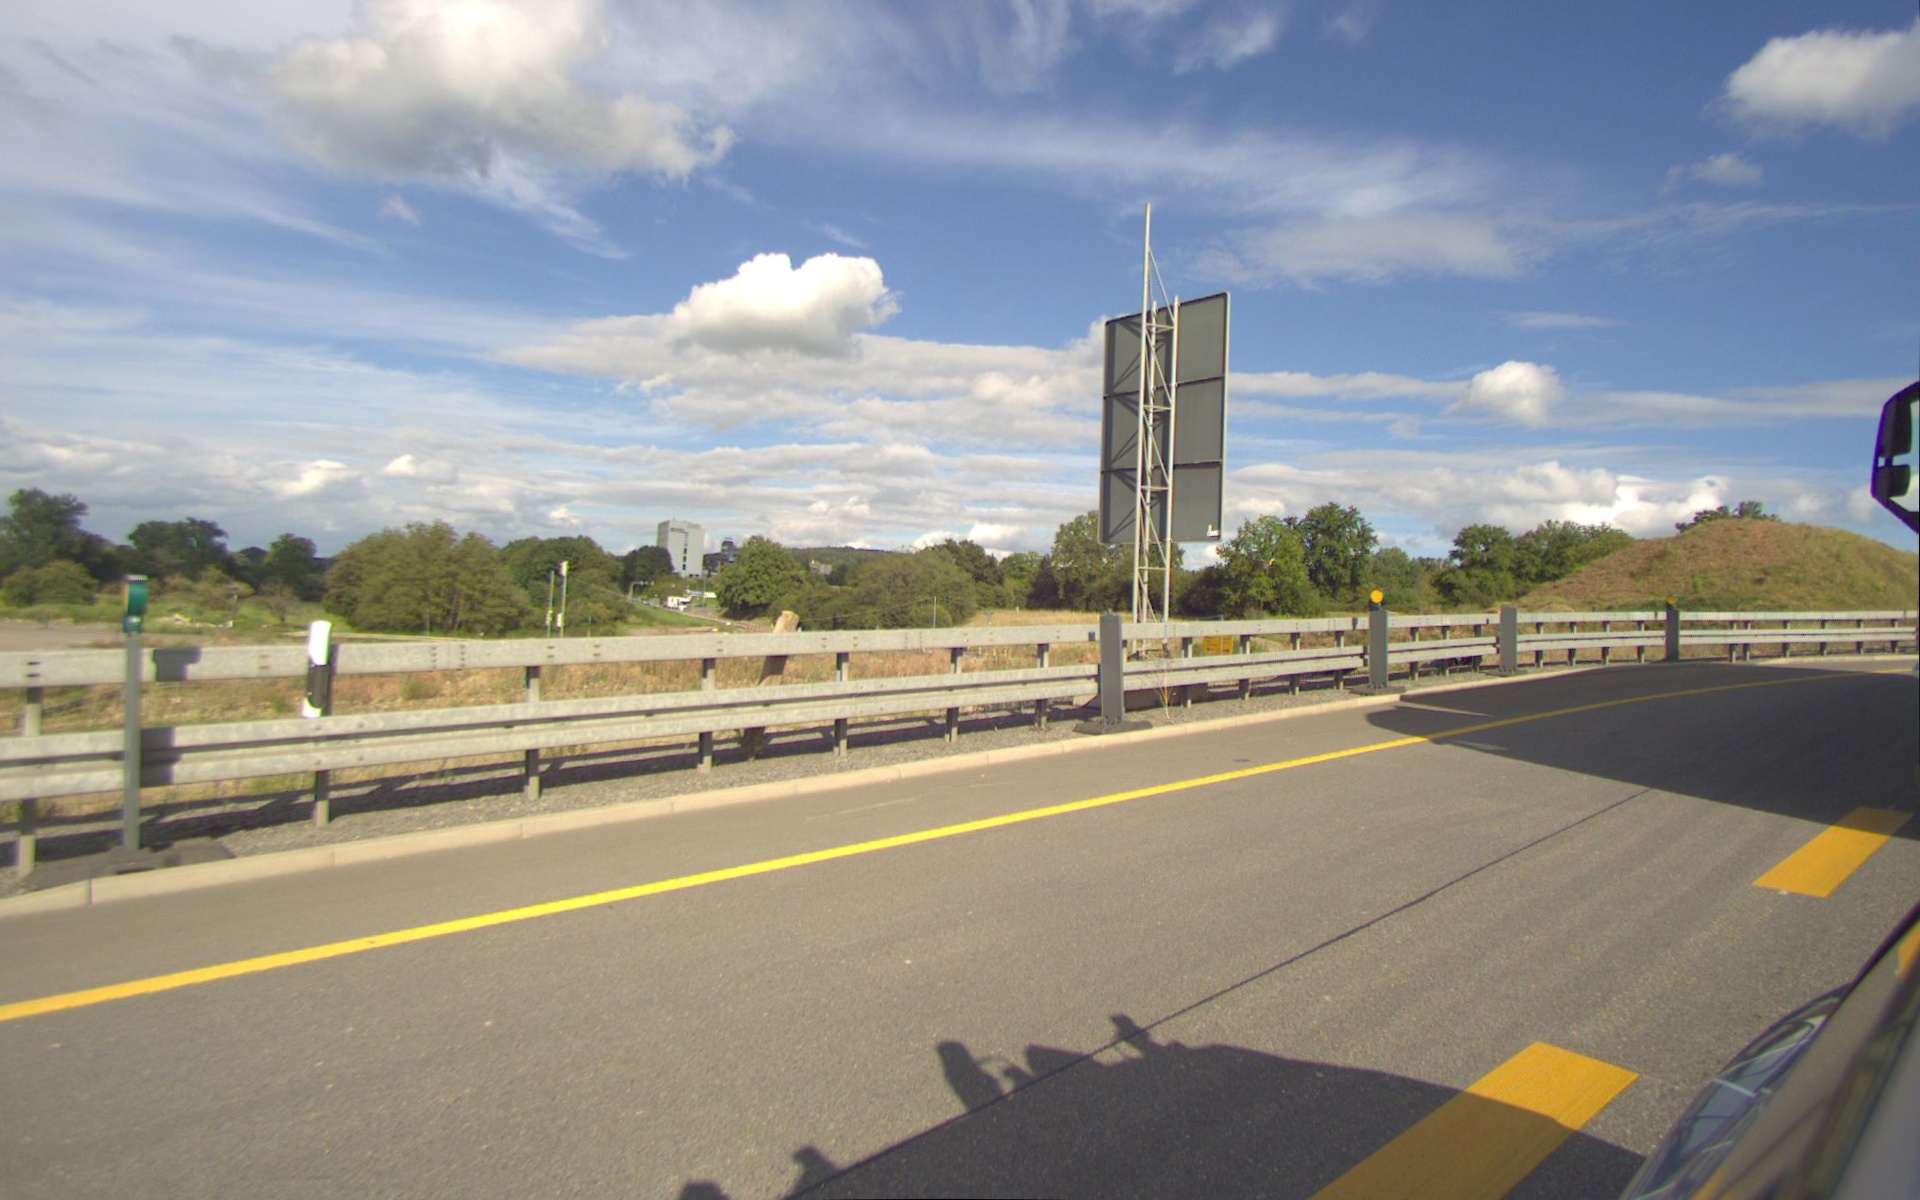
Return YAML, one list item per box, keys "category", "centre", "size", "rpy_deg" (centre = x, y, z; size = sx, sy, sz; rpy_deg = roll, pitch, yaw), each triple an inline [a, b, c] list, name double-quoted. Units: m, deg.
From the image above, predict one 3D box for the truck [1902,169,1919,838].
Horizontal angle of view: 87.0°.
- category: "truck"
  centre: [10.220, -0.662, 8.289]
  size: [10.140, 3.896, 2.661]
  rpy_deg: [-1, 1, -41]
